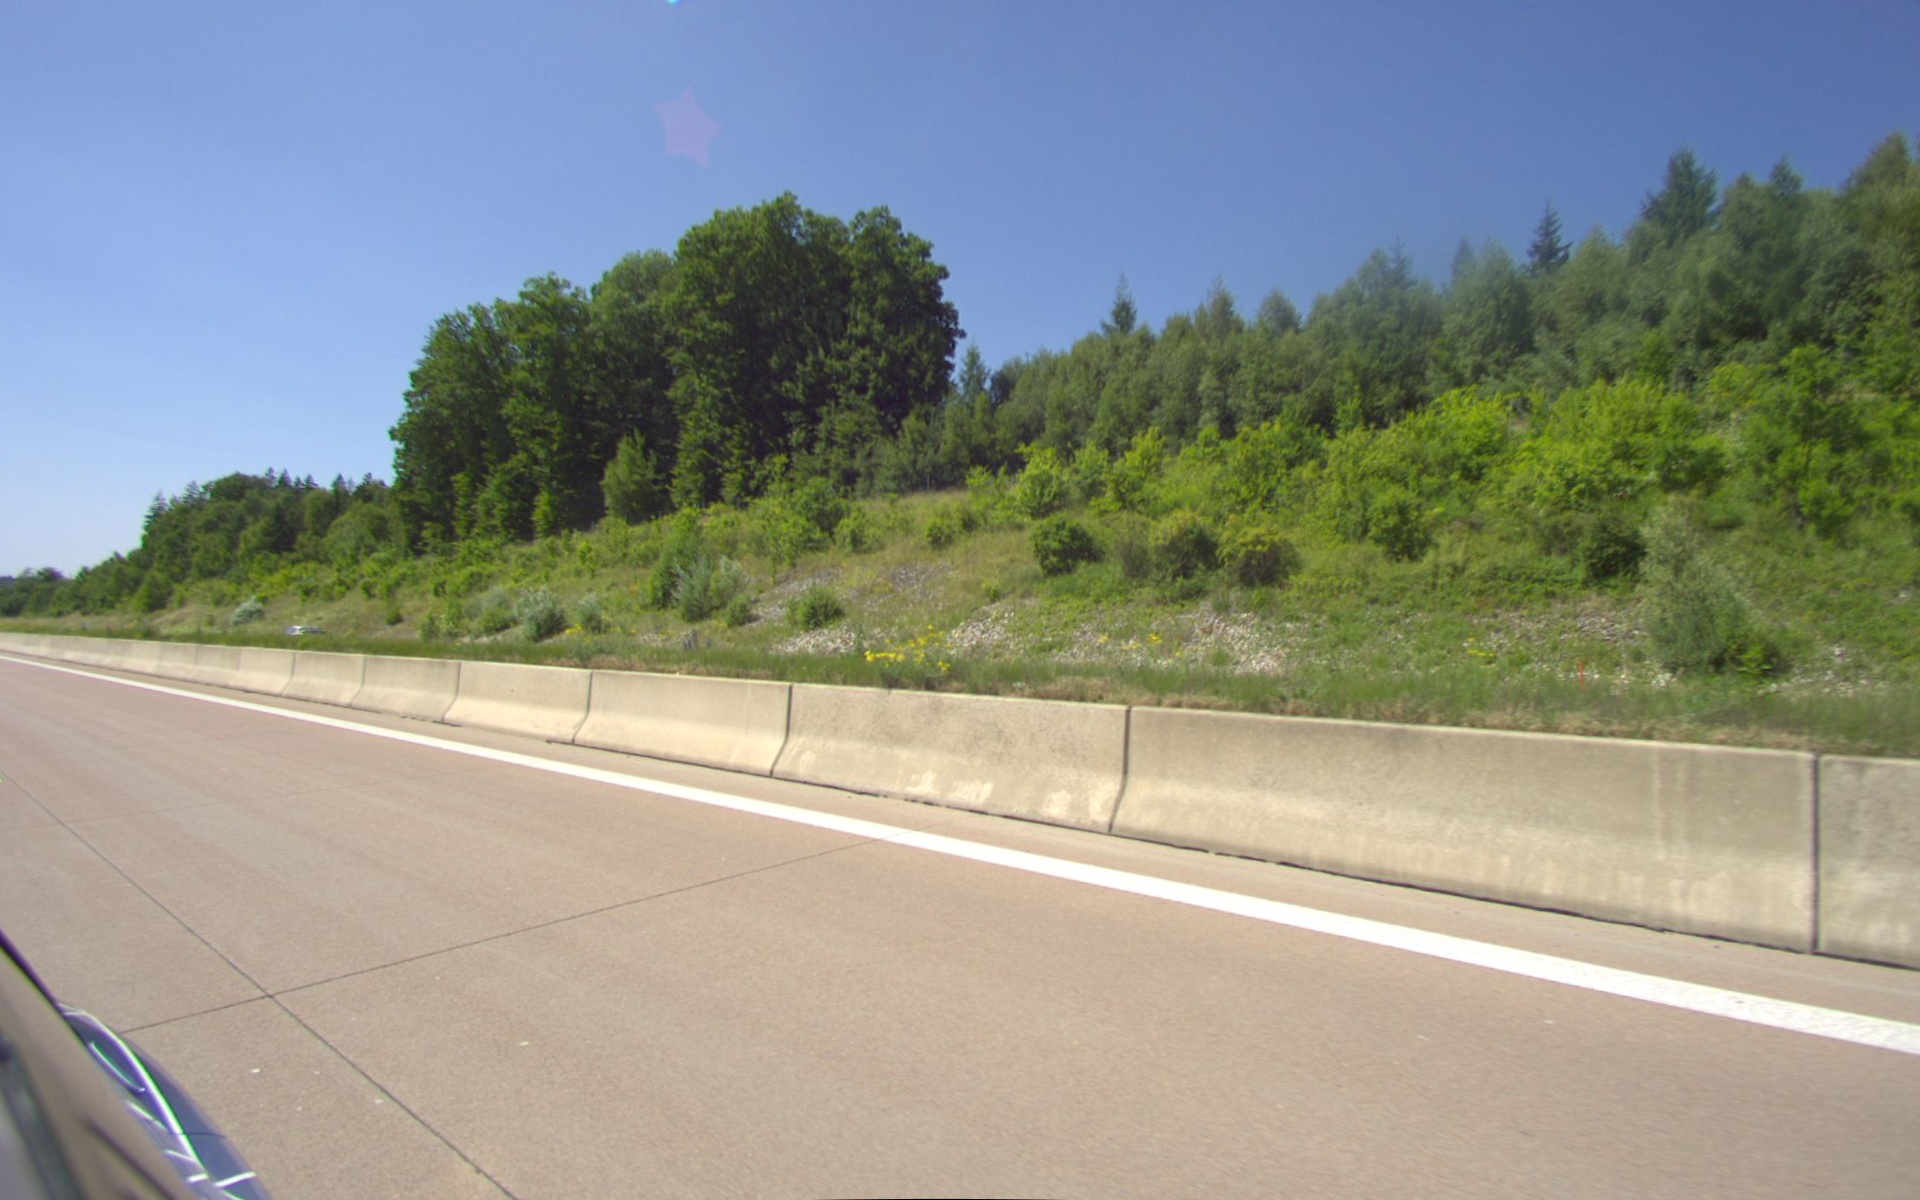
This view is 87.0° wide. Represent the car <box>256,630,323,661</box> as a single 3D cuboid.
[{"bbox_3d":[-38.108,2.600,57.505,4.658,1.664,1.872,-3,-2,39],"label":"car"}]

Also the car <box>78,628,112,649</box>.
[{"bbox_3d":[-88.327,3.945,103.329,4.658,2.080,1.872,-3,-2,39],"label":"car"}]
